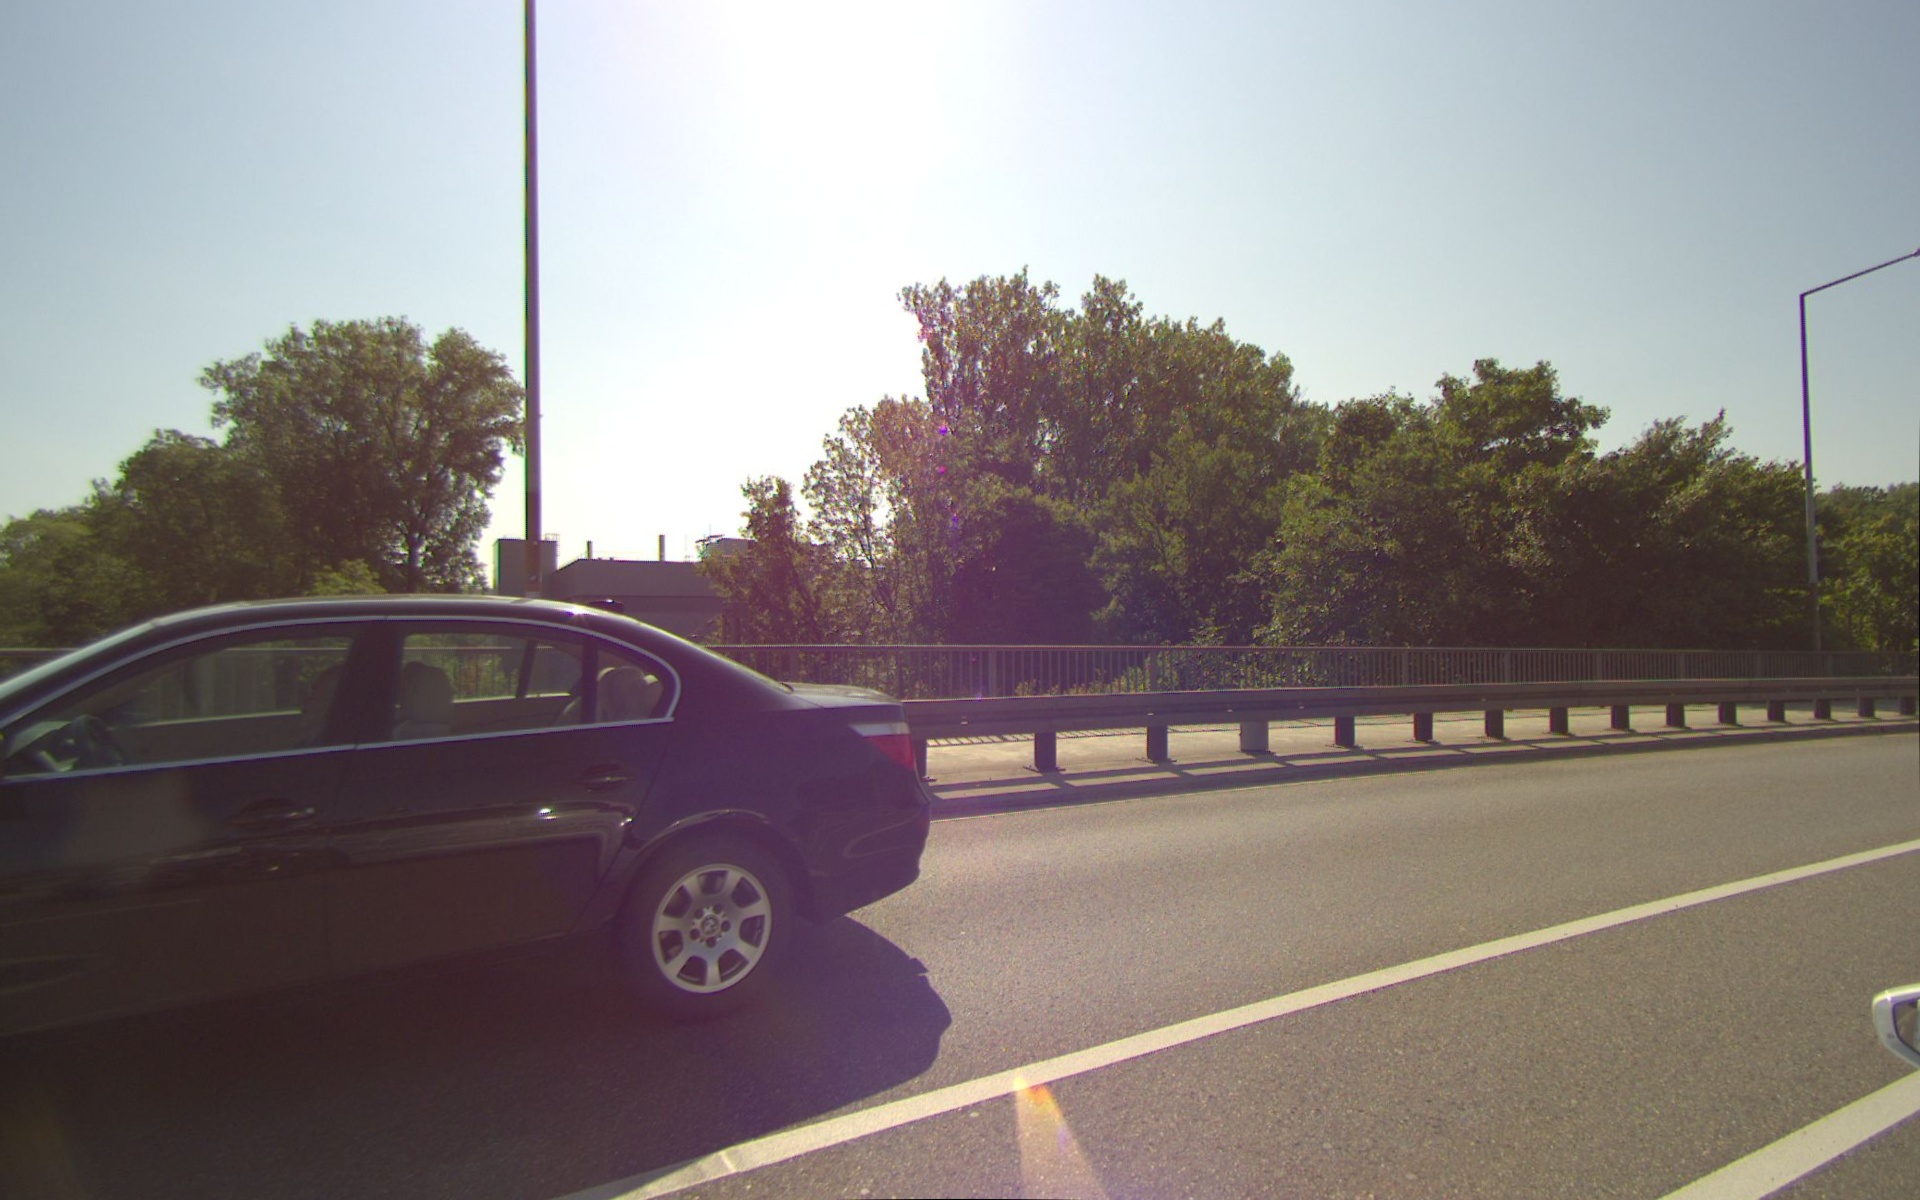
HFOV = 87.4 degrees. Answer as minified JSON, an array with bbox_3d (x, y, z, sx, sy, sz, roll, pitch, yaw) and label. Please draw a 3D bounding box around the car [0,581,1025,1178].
[{"bbox_3d":[-2.109,0.694,3.692,4.464,1.461,1.846,1,0,-32],"label":"car"}]
